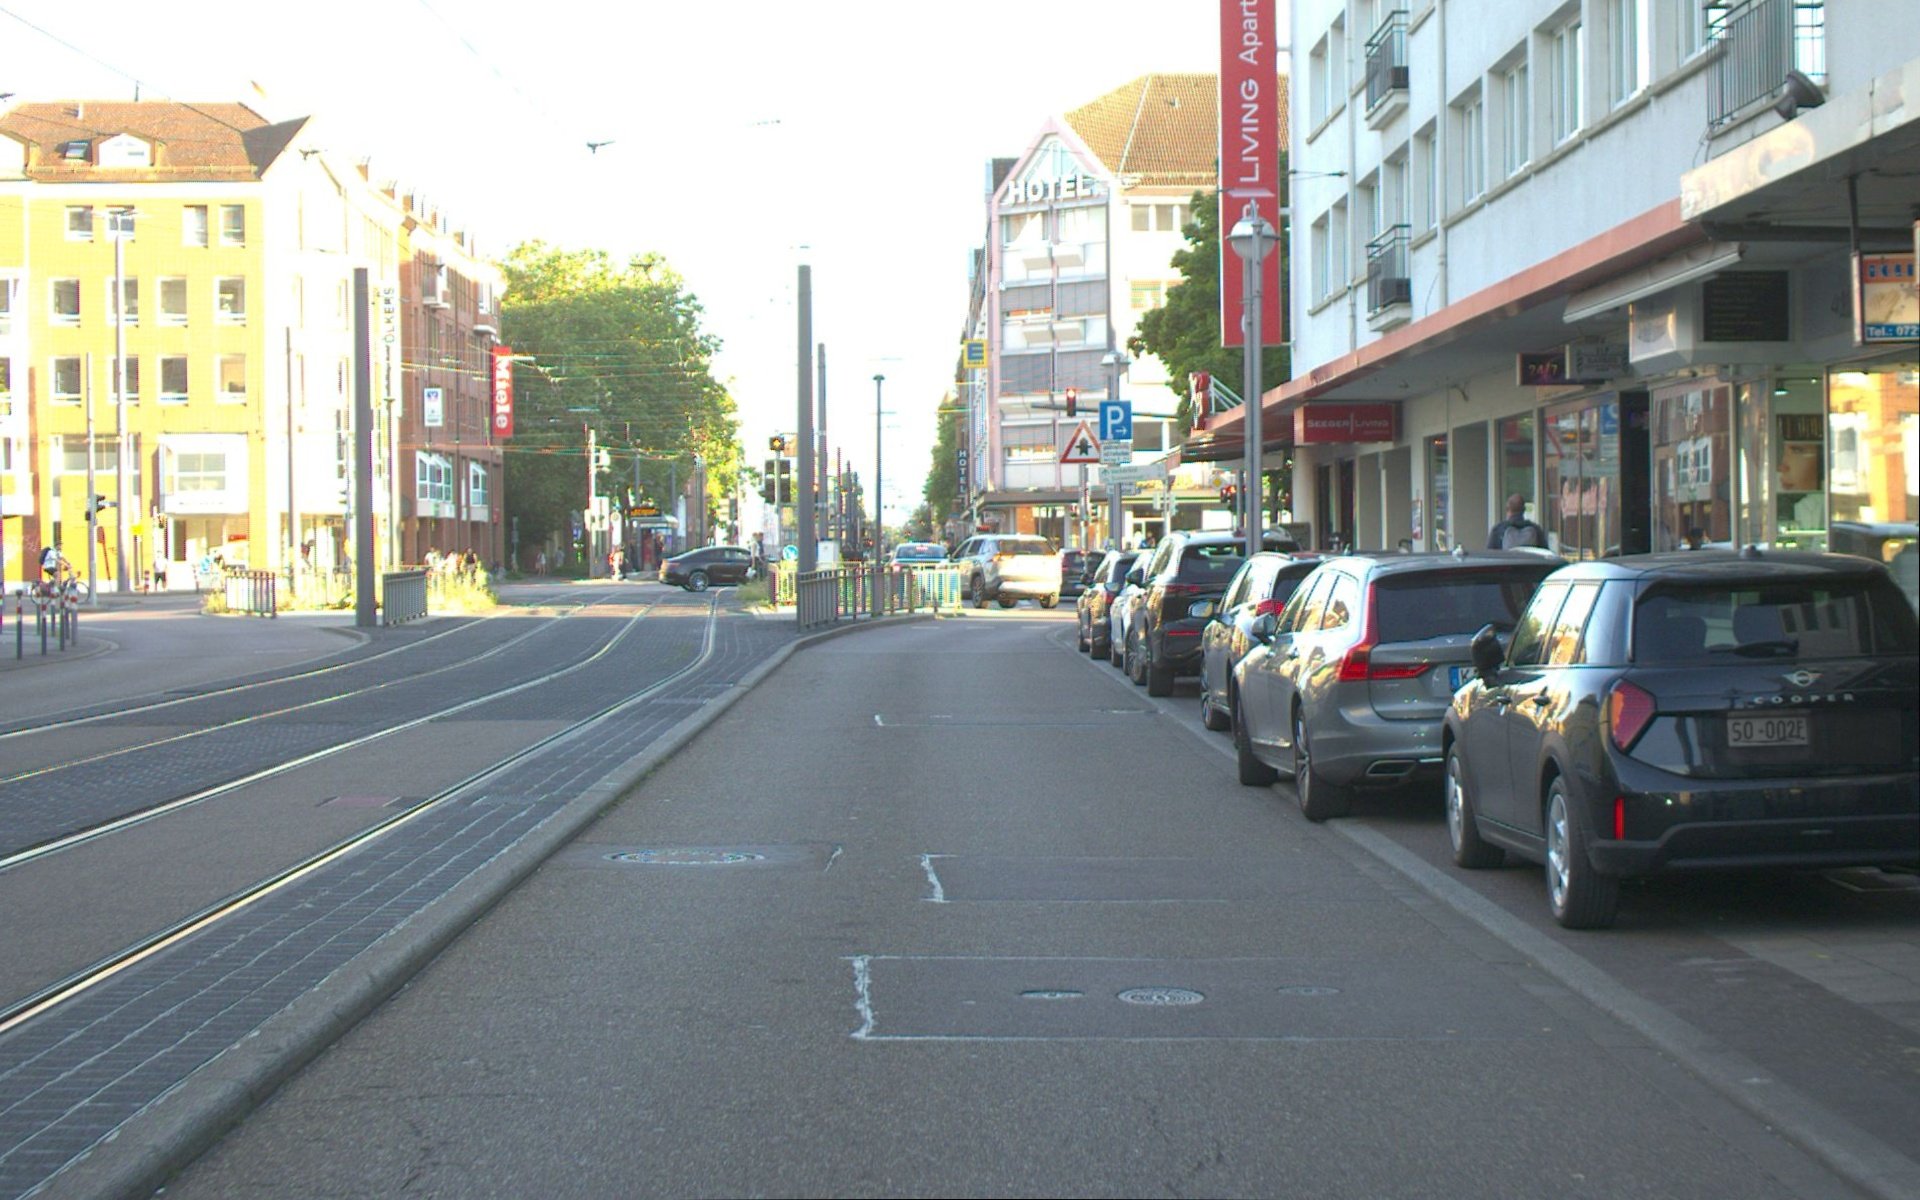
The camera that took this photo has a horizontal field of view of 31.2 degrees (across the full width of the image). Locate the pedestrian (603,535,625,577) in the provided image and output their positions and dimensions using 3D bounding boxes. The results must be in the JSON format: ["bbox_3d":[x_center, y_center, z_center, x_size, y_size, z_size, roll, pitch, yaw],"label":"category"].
[{"bbox_3d":[-14.990,-1.905,148.954,0.805,1.816,0.703,1,0,2],"label":"pedestrian"}]

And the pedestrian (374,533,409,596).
[{"bbox_3d":[-12.465,-0.775,75.426,0.663,1.370,0.652,-1,1,-3],"label":"pedestrian"}]

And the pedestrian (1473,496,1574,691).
[{"bbox_3d":[5.542,-0.069,33.845,0.774,1.874,0.935,-1,0,-2],"label":"pedestrian"}]

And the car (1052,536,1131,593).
[{"bbox_3d":[3.427,-0.940,90.415,1.764,1.435,4.001,-1,1,-2],"label":"car"}]

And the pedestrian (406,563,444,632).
[{"bbox_3d":[-10.664,-0.053,68.537,0.663,1.370,0.652,1,0,-3],"label":"pedestrian"}]

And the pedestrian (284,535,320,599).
[{"bbox_3d":[-14.341,-0.726,74.907,0.663,1.370,0.652,-1,1,-3],"label":"pedestrian"}]

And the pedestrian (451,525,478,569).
[{"bbox_3d":[-22.927,-2.468,158.949,1.093,2.007,1.163,1,0,-3],"label":"pedestrian"}]

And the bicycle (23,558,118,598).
[{"bbox_3d":[-26.072,-0.642,100.747,2.639,1.096,0.435,1,0,-20],"label":"bicycle"}]

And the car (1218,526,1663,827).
[{"bbox_3d":[2.687,0.374,20.356,1.791,1.528,4.857,1,1,-2],"label":"car"}]

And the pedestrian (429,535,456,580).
[{"bbox_3d":[-23.388,-1.910,155.439,1.093,2.007,0.909,1,0,-3],"label":"pedestrian"}]

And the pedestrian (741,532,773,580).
[{"bbox_3d":[-5.815,-1.266,98.568,0.903,1.370,0.854,-1,1,-3],"label":"pedestrian"}]

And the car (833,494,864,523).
[{"bbox_3d":[-7.706,-6.278,237.459,1.993,1.894,4.000,1,1,0],"label":"car"}]

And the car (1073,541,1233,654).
[{"bbox_3d":[2.556,-0.056,46.571,1.790,1.408,4.688,1,1,-1],"label":"car"}]

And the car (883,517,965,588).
[{"bbox_3d":[-0.941,-1.225,90.159,1.993,1.590,4.000,-4,-1,0],"label":"car"}]

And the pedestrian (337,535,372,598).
[{"bbox_3d":[-13.211,-0.734,75.028,0.663,1.370,0.652,0,1,-3],"label":"pedestrian"}]

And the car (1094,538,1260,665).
[{"bbox_3d":[2.558,-0.001,41.329,1.651,1.416,4.191,1,1,-1],"label":"car"}]

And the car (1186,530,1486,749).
[{"bbox_3d":[2.823,0.240,26.681,1.781,1.517,4.357,1,1,0],"label":"car"}]

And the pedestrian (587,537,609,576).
[{"bbox_3d":[-15.790,-1.884,149.848,0.805,1.658,0.703,1,0,3],"label":"pedestrian"}]

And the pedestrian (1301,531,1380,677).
[{"bbox_3d":[4.163,0.035,37.663,0.733,1.568,0.967,0,1,-1],"label":"pedestrian"}]

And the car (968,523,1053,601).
[{"bbox_3d":[1.128,-0.829,77.765,1.835,1.630,4.090,-2,-1,1],"label":"car"}]

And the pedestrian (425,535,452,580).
[{"bbox_3d":[-23.390,-1.904,154.194,1.093,2.007,0.909,1,0,-3],"label":"pedestrian"}]

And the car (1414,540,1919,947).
[{"bbox_3d":[3.103,0.515,14.689,1.726,1.476,4.000,1,1,-1],"label":"car"}]

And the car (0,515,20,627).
[{"bbox_3d":[-19.136,-0.512,62.291,3.986,2.007,2.001,-1,1,-17],"label":"car"}]

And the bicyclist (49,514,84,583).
[{"bbox_3d":[-26.171,-1.503,100.700,0.860,2.007,0.647,1,0,-21],"label":"bicyclist"}]

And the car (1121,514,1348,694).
[{"bbox_3d":[2.739,0.016,35.255,1.856,1.695,4.418,1,1,-1],"label":"car"}]
